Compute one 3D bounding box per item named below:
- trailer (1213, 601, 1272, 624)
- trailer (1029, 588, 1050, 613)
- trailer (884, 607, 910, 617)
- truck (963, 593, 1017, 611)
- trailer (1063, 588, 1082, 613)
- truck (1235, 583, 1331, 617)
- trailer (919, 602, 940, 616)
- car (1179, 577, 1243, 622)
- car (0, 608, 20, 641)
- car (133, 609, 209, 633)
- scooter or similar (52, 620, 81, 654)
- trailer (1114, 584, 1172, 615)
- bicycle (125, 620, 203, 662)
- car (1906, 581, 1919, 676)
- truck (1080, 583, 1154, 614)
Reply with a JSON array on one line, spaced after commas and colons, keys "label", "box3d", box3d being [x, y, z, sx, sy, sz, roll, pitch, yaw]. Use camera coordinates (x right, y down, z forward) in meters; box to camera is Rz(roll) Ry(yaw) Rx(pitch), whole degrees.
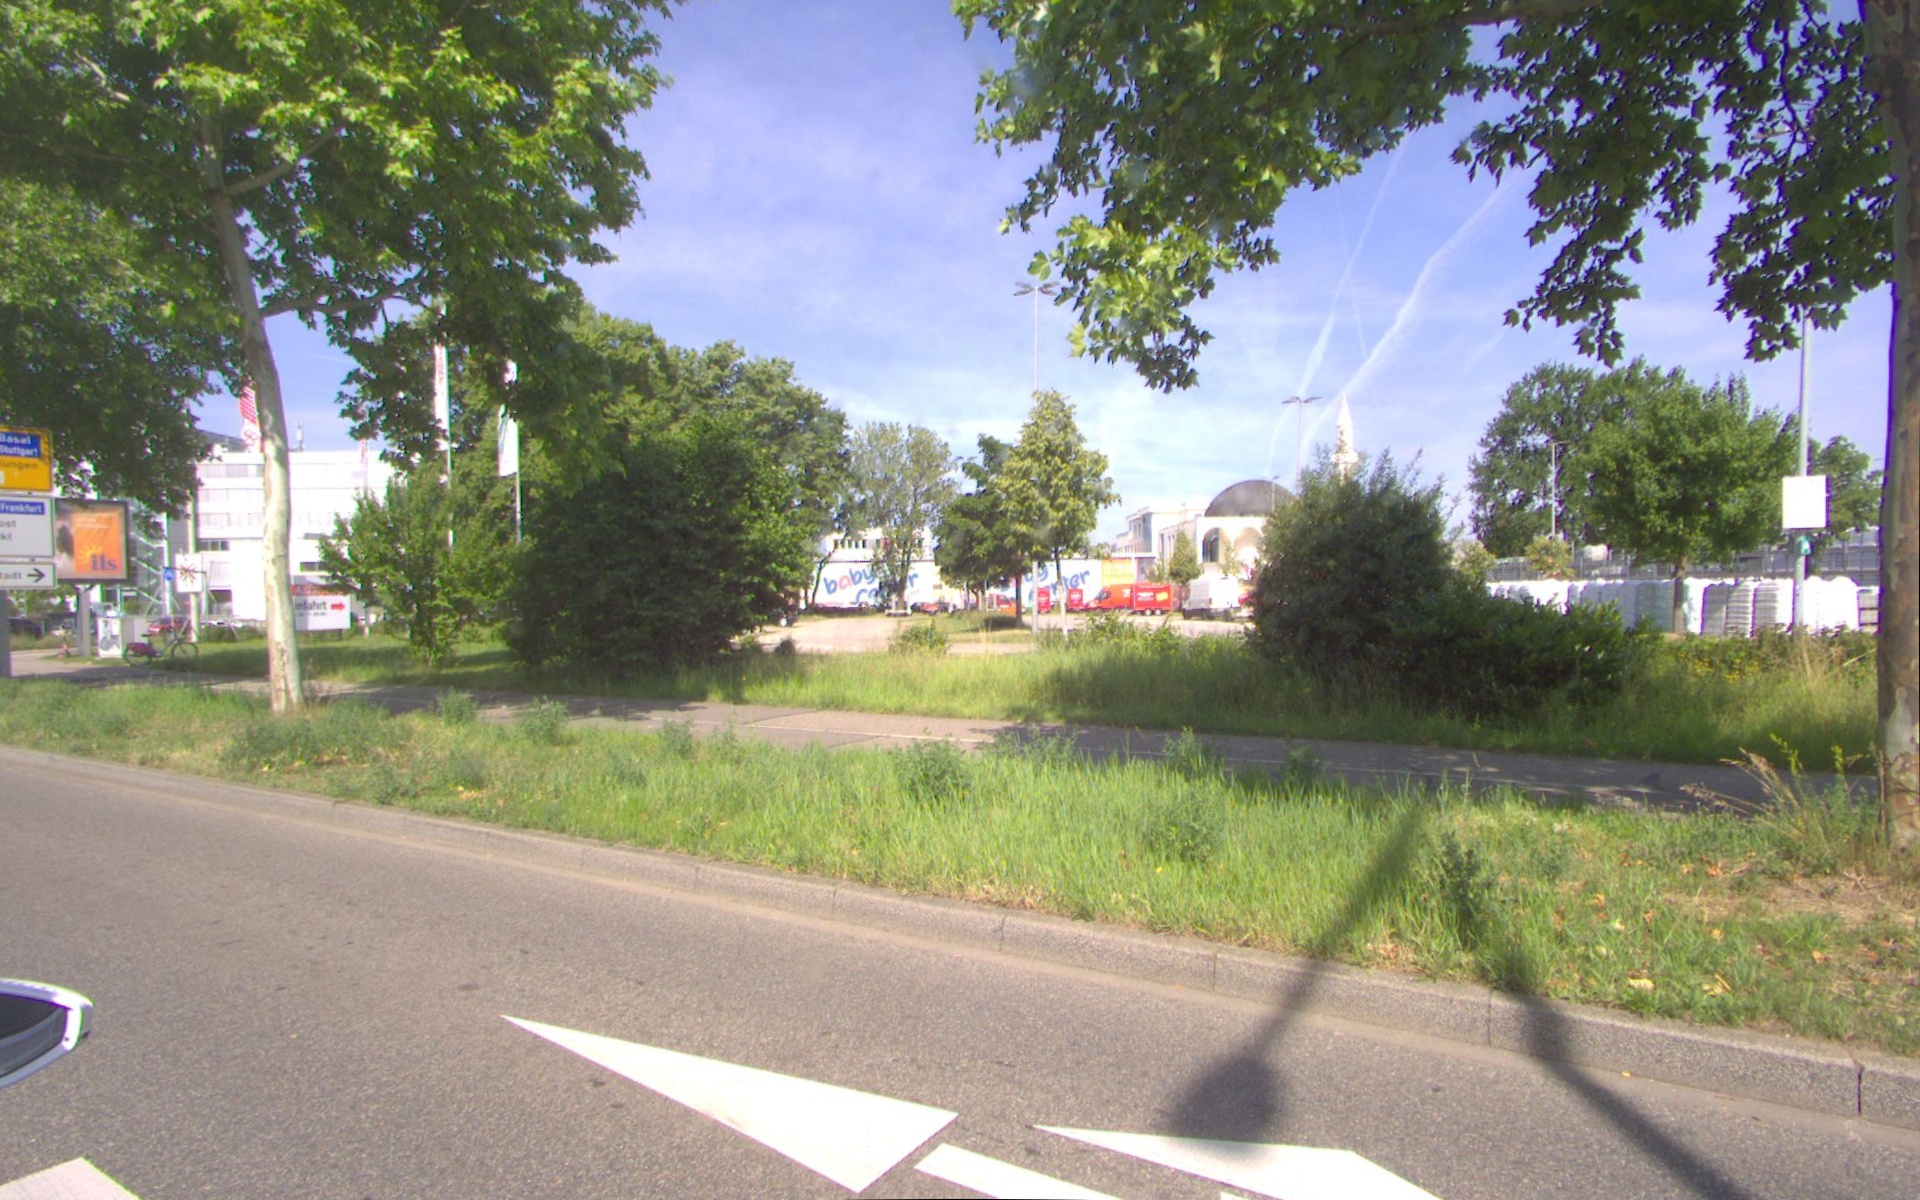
[{"label": "trailer", "box3d": [15.931, 0.665, 56.632, 2.029, 1.137, 4.031, -3, 0, -2]}, {"label": "trailer", "box3d": [7.744, 0.025, 97.811, 1.560, 2.408, 4.410, 0, 1, -1]}, {"label": "trailer", "box3d": [-5.948, 1.124, 94.910, 2.059, 0.792, 4.411, -1, 0, 1]}, {"label": "truck", "box3d": [3.364, 0.238, 112.925, 5.888, 1.855, 2.188, 0, -2, -2]}, {"label": "trailer", "box3d": [10.892, 0.037, 97.193, 1.520, 2.390, 4.410, 0, 1, 2]}, {"label": "truck", "box3d": [21.620, 0.007, 67.186, 5.751, 2.168, 2.066, -1, 0, -1]}, {"label": "trailer", "box3d": [-2.934, 0.815, 95.658, 1.560, 1.304, 4.409, -1, 0, -7]}, {"label": "car", "box3d": [15.513, -0.041, 62.223, 1.980, 2.576, 5.687, -3, 0, -6]}, {"label": "car", "box3d": [-50.145, 1.269, 50.168, 1.879, 1.711, 4.625, -1, 0, -4]}, {"label": "car", "box3d": [-54.005, 1.413, 68.639, 1.747, 1.463, 4.625, -1, 0, -4]}, {"label": "scooter or similar", "box3d": [-29.900, 1.232, 33.508, 1.107, 1.141, 0.423, 0, 1, 32]}, {"label": "trailer", "box3d": [14.504, -0.037, 79.453, 4.325, 2.409, 1.751, 0, 1, 0]}, {"label": "bicycle", "box3d": [-23.807, 1.213, 29.993, 1.771, 1.123, 0.499, -3, 2, -40]}, {"label": "car", "box3d": [16.436, 0.469, 15.246, 1.820, 1.606, 3.849, -1, 0, 25]}, {"label": "truck", "box3d": [13.329, -0.133, 85.189, 5.914, 2.644, 2.018, 0, 0, -6]}]
